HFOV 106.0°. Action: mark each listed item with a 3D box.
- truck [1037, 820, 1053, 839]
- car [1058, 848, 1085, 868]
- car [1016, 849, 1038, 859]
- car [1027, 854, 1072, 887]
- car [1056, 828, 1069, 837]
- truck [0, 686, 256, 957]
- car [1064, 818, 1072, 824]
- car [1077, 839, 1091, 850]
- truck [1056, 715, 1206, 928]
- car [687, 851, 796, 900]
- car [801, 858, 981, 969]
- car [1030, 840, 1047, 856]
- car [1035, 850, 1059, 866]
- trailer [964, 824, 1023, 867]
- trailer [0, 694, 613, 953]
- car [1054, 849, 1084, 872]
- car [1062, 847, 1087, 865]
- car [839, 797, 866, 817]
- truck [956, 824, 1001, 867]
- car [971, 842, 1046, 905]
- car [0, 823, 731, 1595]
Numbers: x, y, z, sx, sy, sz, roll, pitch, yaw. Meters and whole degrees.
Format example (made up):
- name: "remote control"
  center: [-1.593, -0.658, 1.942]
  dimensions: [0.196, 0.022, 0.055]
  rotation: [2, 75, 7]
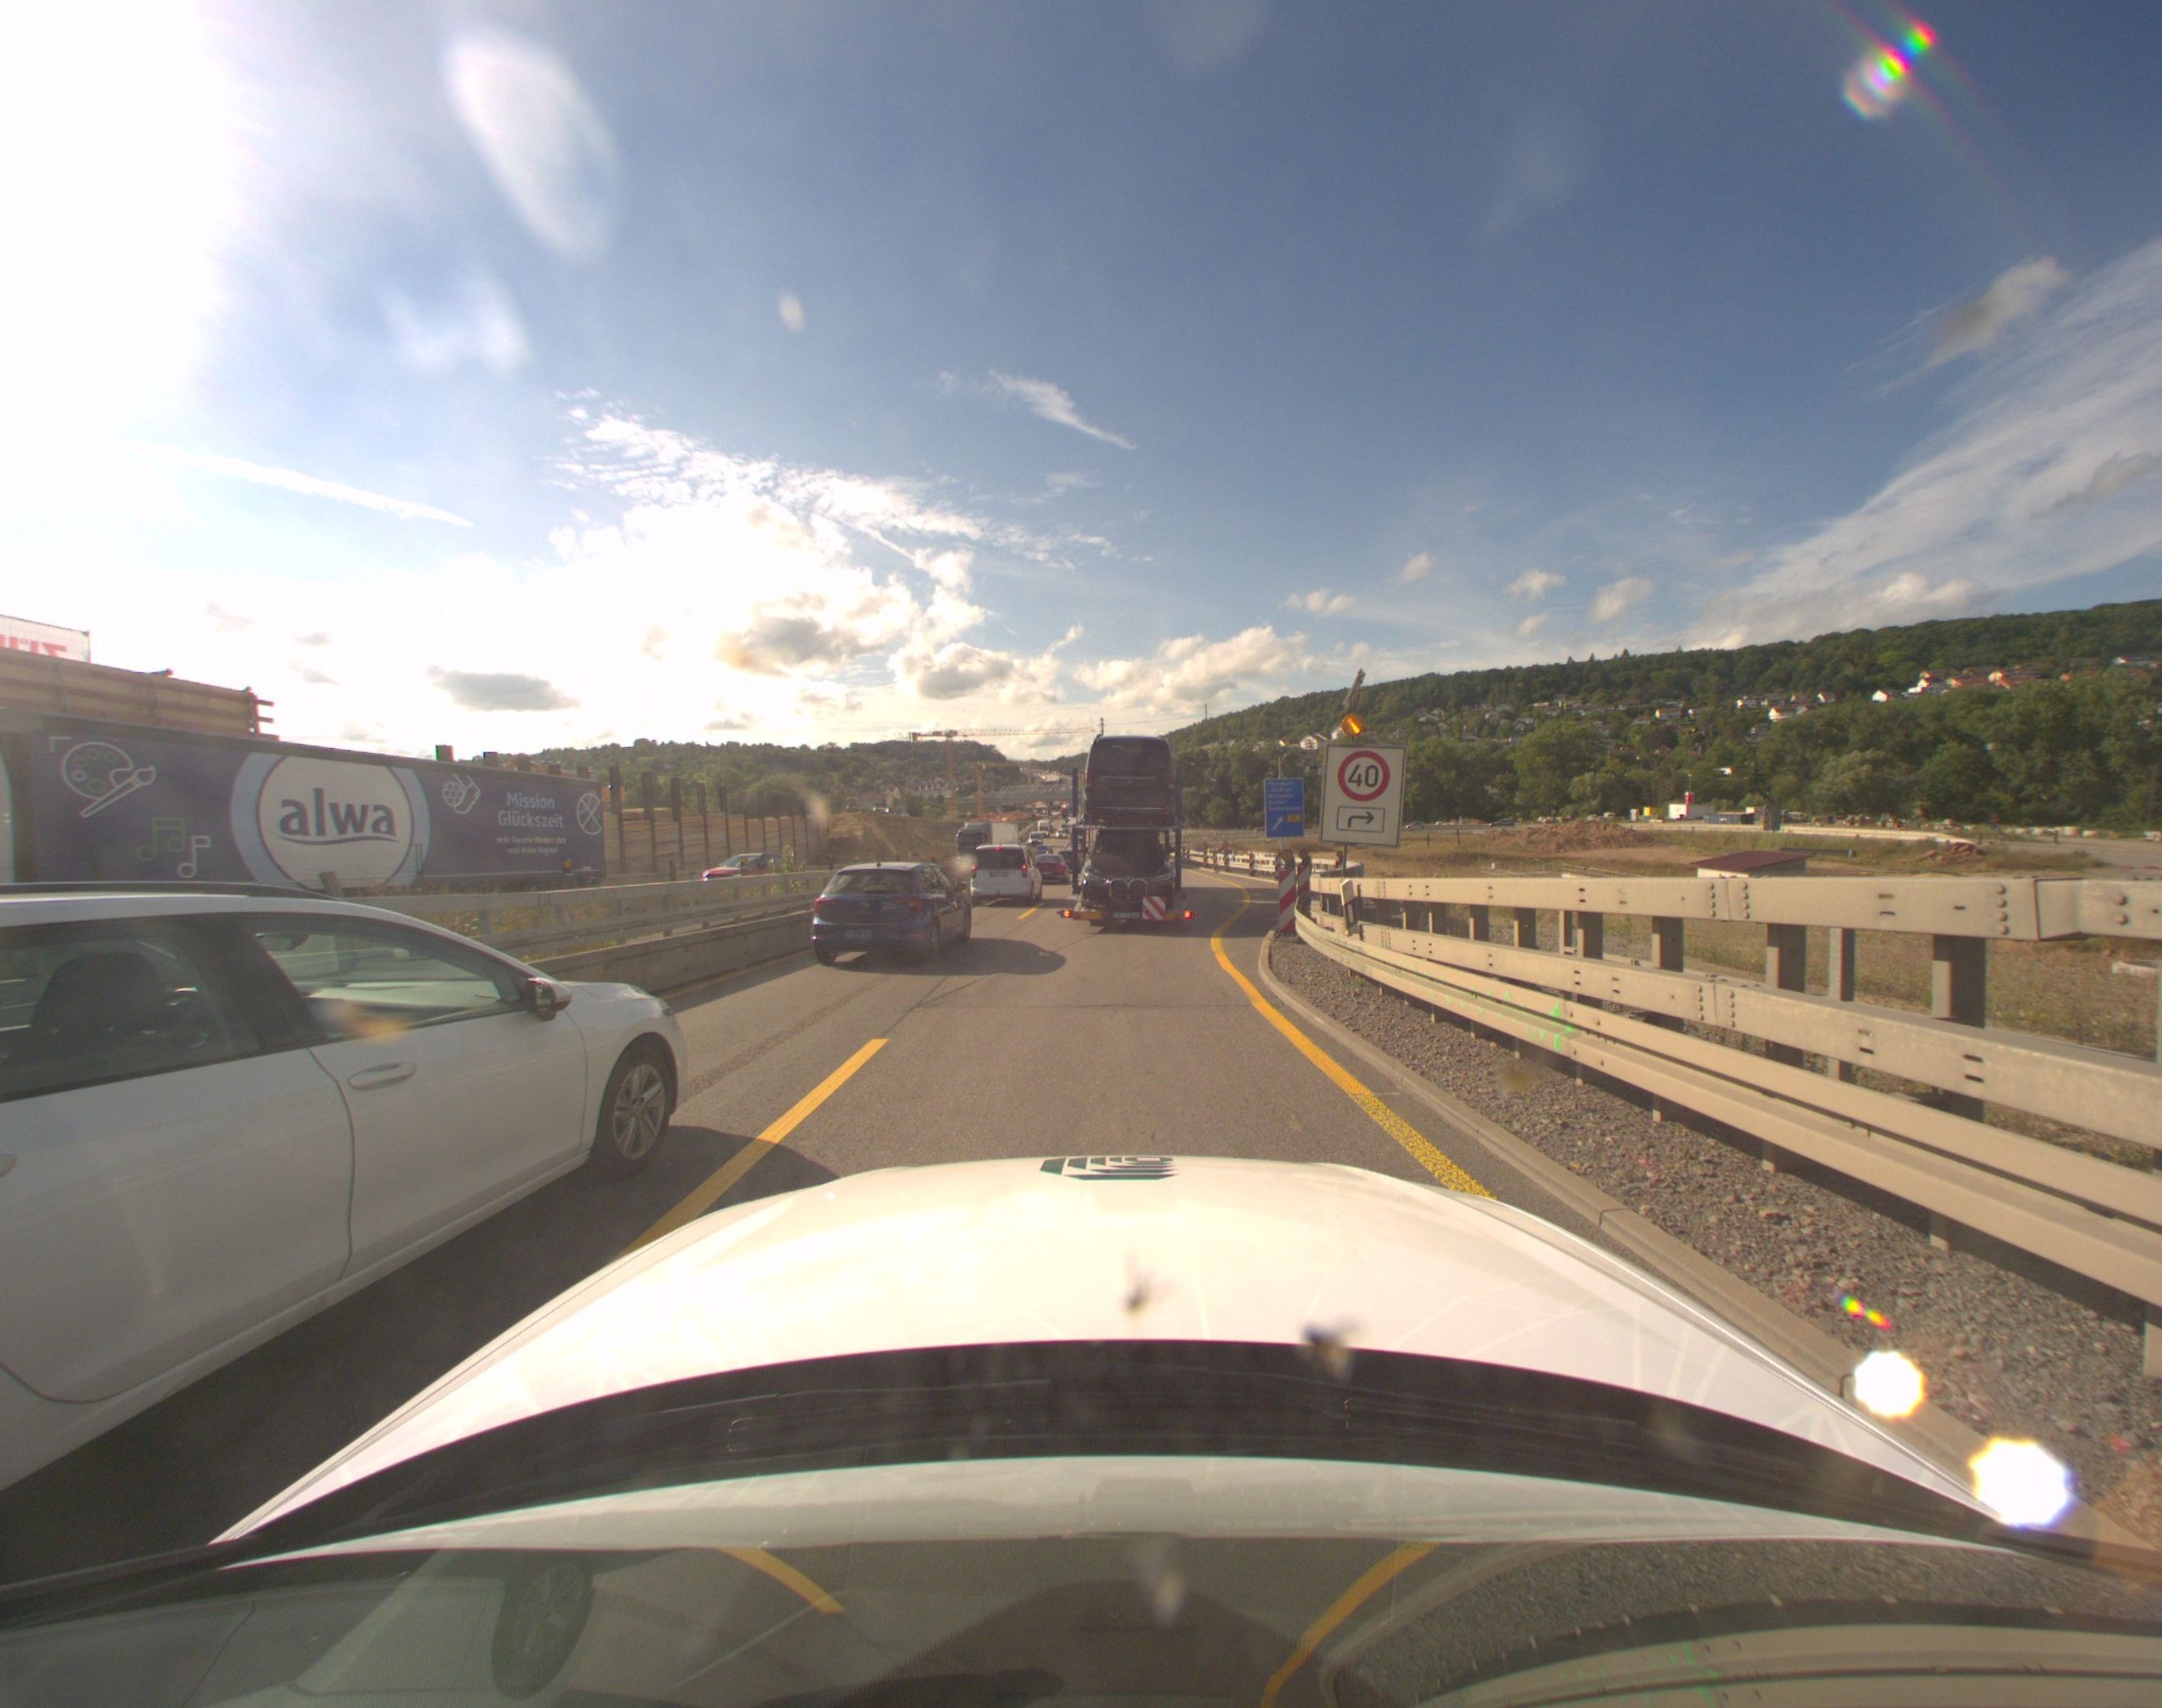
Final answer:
- name: "truck"
  center: [-7.175, -4.838, 162.403]
  dimensions: [2.691, 3.311, 7.538]
  rotation: [0, -1, 1]
- name: "car"
  center: [-0.748, 0.336, 65.905]
  dimensions: [1.986, 1.552, 4.002]
  rotation: [0, -1, 2]
- name: "car"
  center: [-6.999, 0.044, 105.857]
  dimensions: [1.908, 1.273, 4.012]
  rotation: [0, -1, 11]
- name: "car"
  center: [-1.528, 0.790, 40.698]
  dimensions: [1.986, 1.556, 4.401]
  rotation: [0, -1, 1]
- name: "car"
  center: [-3.547, -4.056, 156.163]
  dimensions: [2.118, 1.673, 4.275]
  rotation: [0, 2, 2]
- name: "truck"
  center: [-17.825, -0.489, 13.125]
  dimensions: [2.699, 4.137, 5.977]
  rotation: [0, -1, 4]
- name: "car"
  center: [-3.277, -8.394, 208.283]
  dimensions: [1.846, 1.635, 4.752]
  rotation: [0, 2, 2]
- name: "car"
  center: [0.432, -1.368, 120.966]
  dimensions: [1.986, 1.552, 4.002]
  rotation: [0, -1, 2]
- name: "truck"
  center: [1.354, -0.528, 24.638]
  dimensions: [2.742, 3.955, 18.900]
  rotation: [1, -1, 3]
- name: "car"
  center: [-12.868, 0.791, 31.196]
  dimensions: [1.913, 1.767, 4.336]
  rotation: [0, -1, 7]
- name: "car"
  center: [-2.800, 0.805, 12.923]
  dimensions: [1.715, 1.422, 4.003]
  rotation: [-1, 0, 3]
- name: "car"
  center: [-6.612, -0.939, 127.951]
  dimensions: [2.250, 2.402, 5.869]
  rotation: [0, -1, 2]
- name: "car"
  center: [-3.815, 0.481, 92.757]
  dimensions: [1.982, 1.726, 4.131]
  rotation: [0, -1, 8]
- name: "trailer"
  center: [-8.455, -0.698, 80.708]
  dimensions: [2.806, 3.841, 13.827]
  rotation: [0, -1, 6]
- name: "trailer"
  center: [-17.301, -0.430, 20.030]
  dimensions: [2.675, 4.156, 13.828]
  rotation: [0, -1, 4]
- name: "car"
  center: [-0.889, 0.439, 57.077]
  dimensions: [1.989, 1.552, 3.995]
  rotation: [0, -1, -3]
- name: "car"
  center: [-0.537, 0.218, 72.926]
  dimensions: [1.986, 1.552, 4.002]
  rotation: [0, -1, 2]
- name: "car"
  center: [-31.117, -6.364, 111.233]
  dimensions: [1.987, 2.140, 5.321]
  rotation: [-5, -1, 0]
- name: "truck"
  center: [-9.236, -0.722, 73.998]
  dimensions: [2.762, 3.788, 6.028]
  rotation: [0, -1, 6]
- name: "car"
  center: [-2.174, 0.582, 25.429]
  dimensions: [1.816, 1.792, 4.002]
  rotation: [0, -1, 2]
- name: "car"
  center: [-2.970, 0.728, 2.436]
  dimensions: [1.763, 1.491, 4.517]
  rotation: [-2, -1, 1]
